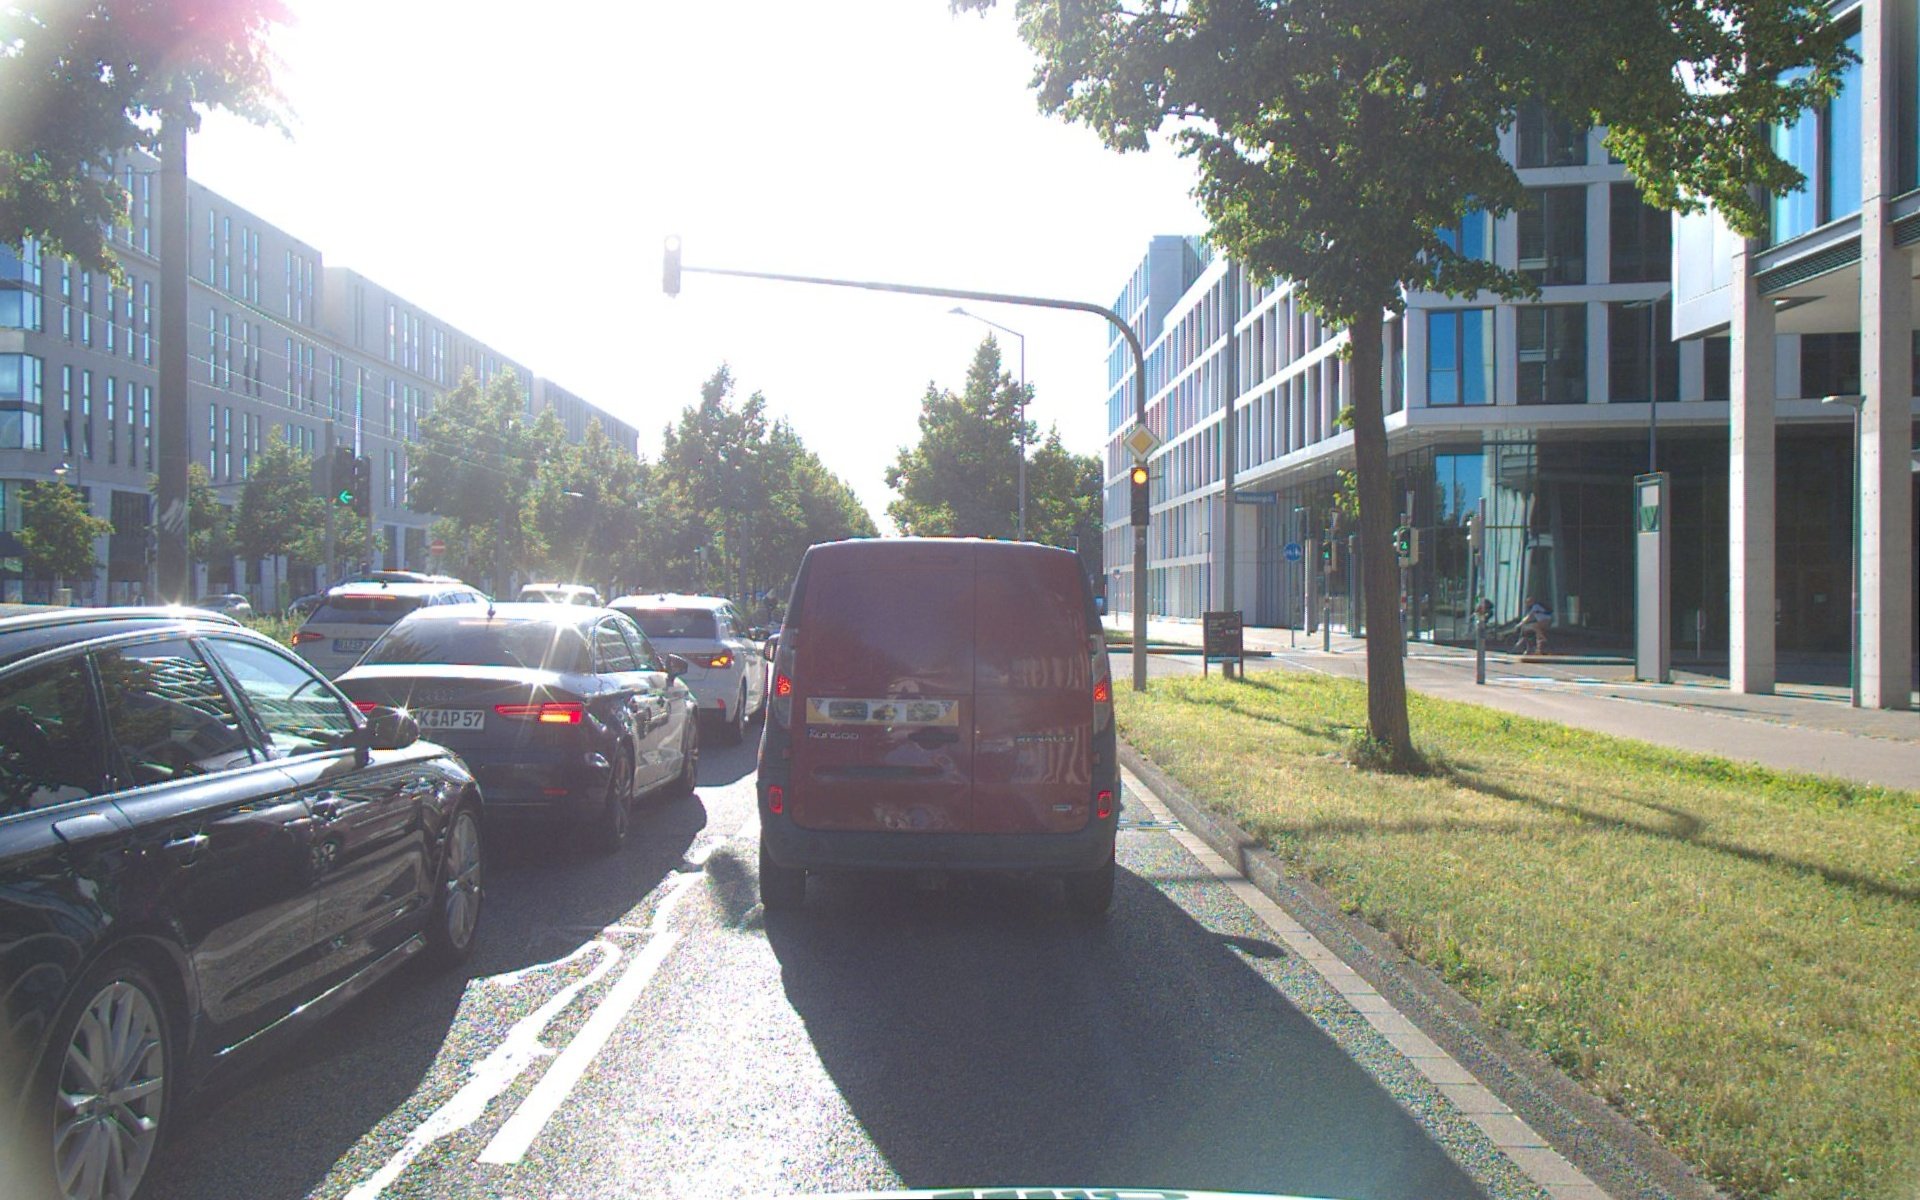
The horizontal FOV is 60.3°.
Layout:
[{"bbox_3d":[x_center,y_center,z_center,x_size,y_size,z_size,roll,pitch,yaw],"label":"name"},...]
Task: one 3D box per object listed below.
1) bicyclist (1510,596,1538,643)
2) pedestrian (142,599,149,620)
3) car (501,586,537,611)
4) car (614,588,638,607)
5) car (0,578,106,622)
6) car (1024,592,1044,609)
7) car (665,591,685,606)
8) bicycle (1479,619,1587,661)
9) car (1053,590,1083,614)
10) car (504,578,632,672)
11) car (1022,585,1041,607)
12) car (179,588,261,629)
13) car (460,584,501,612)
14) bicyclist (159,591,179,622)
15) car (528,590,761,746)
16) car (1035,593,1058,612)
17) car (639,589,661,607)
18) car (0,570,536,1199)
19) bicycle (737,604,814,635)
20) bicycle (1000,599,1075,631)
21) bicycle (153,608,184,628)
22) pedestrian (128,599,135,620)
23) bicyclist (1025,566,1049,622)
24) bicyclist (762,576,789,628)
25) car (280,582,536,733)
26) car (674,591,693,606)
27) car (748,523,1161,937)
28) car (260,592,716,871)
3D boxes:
[{"bbox_3d":[15.723,0.547,46.113,0.666,1.297,0.821,0,0,14],"label":"bicyclist"},{"bbox_3d":[-43.021,0.498,87.359,0.248,1.104,0.289,0,0,-1],"label":"pedestrian"},{"bbox_3d":[-36.247,-0.140,135.938,1.953,2.049,3.999,0,0,-1],"label":"car"},{"bbox_3d":[-36.719,-0.267,181.846,1.953,2.049,3.999,0,0,-1],"label":"car"},{"bbox_3d":[-33.201,-0.026,60.645,1.729,1.546,3.999,0,0,-1],"label":"car"},{"bbox_3d":[8.066,0.072,179.927,1.953,1.813,3.999,0,0,-1],"label":"car"},{"bbox_3d":[-37.354,-0.205,216.668,1.953,2.049,3.999,0,0,-1],"label":"car"},{"bbox_3d":[15.923,1.096,46.062,2.776,1.134,0.821,0,0,13],"label":"bicycle"},{"bbox_3d":[8.327,0.153,127.965,1.953,1.813,3.999,0,0,-1],"label":"car"},{"bbox_3d":[-6.673,0.383,28.565,1.766,1.473,4.559,0,0,-9],"label":"car"},{"bbox_3d":[8.580,-0.511,198.454,1.953,2.540,4.986,0,0,-1],"label":"car"},{"bbox_3d":[-34.747,0.377,77.764,1.953,1.845,4.369,0,0,-1],"label":"car"},{"bbox_3d":[-35.837,-0.176,123.632,1.953,2.049,3.999,0,0,-1],"label":"car"},{"bbox_3d":[-40.492,0.342,84.640,0.663,1.556,0.714,0,0,-1],"label":"bicyclist"},{"bbox_3d":[-3.205,0.630,17.511,1.767,1.451,3.900,0,0,-1],"label":"car"},{"bbox_3d":[8.420,0.240,160.733,1.953,1.813,3.999,0,0,-1],"label":"car"},{"bbox_3d":[-37.216,-0.245,198.653,1.953,2.049,3.999,0,0,-1],"label":"car"},{"bbox_3d":[-2.781,0.688,5.066,1.836,1.510,4.965,0,0,-2],"label":"car"},{"bbox_3d":[-7.150,0.756,64.216,2.881,1.211,0.818,0,0,0],"label":"bicycle"},{"bbox_3d":[3.001,0.569,63.956,2.880,1.211,0.818,0,0,3],"label":"bicycle"},{"bbox_3d":[-40.489,0.898,84.648,0.663,1.005,1.956,0,0,-1],"label":"bicycle"},{"bbox_3d":[-43.849,0.492,87.527,0.248,1.104,0.260,0,0,-1],"label":"pedestrian"},{"bbox_3d":[2.995,-0.240,63.967,0.920,2.129,0.818,0,0,3],"label":"bicyclist"},{"bbox_3d":[-7.164,0.075,64.232,0.978,1.981,0.818,0,0,0],"label":"bicyclist"},{"bbox_3d":[-6.113,0.573,18.808,1.483,1.518,4.216,0,0,0],"label":"car"},{"bbox_3d":[-37.166,-0.183,222.294,1.953,2.049,3.999,0,0,-1],"label":"car"},{"bbox_3d":[-0.052,0.562,9.259,1.804,1.812,3.999,0,0,-1],"label":"car"},{"bbox_3d":[-2.793,0.682,10.850,1.804,1.451,4.338,0,0,-1],"label":"car"}]
